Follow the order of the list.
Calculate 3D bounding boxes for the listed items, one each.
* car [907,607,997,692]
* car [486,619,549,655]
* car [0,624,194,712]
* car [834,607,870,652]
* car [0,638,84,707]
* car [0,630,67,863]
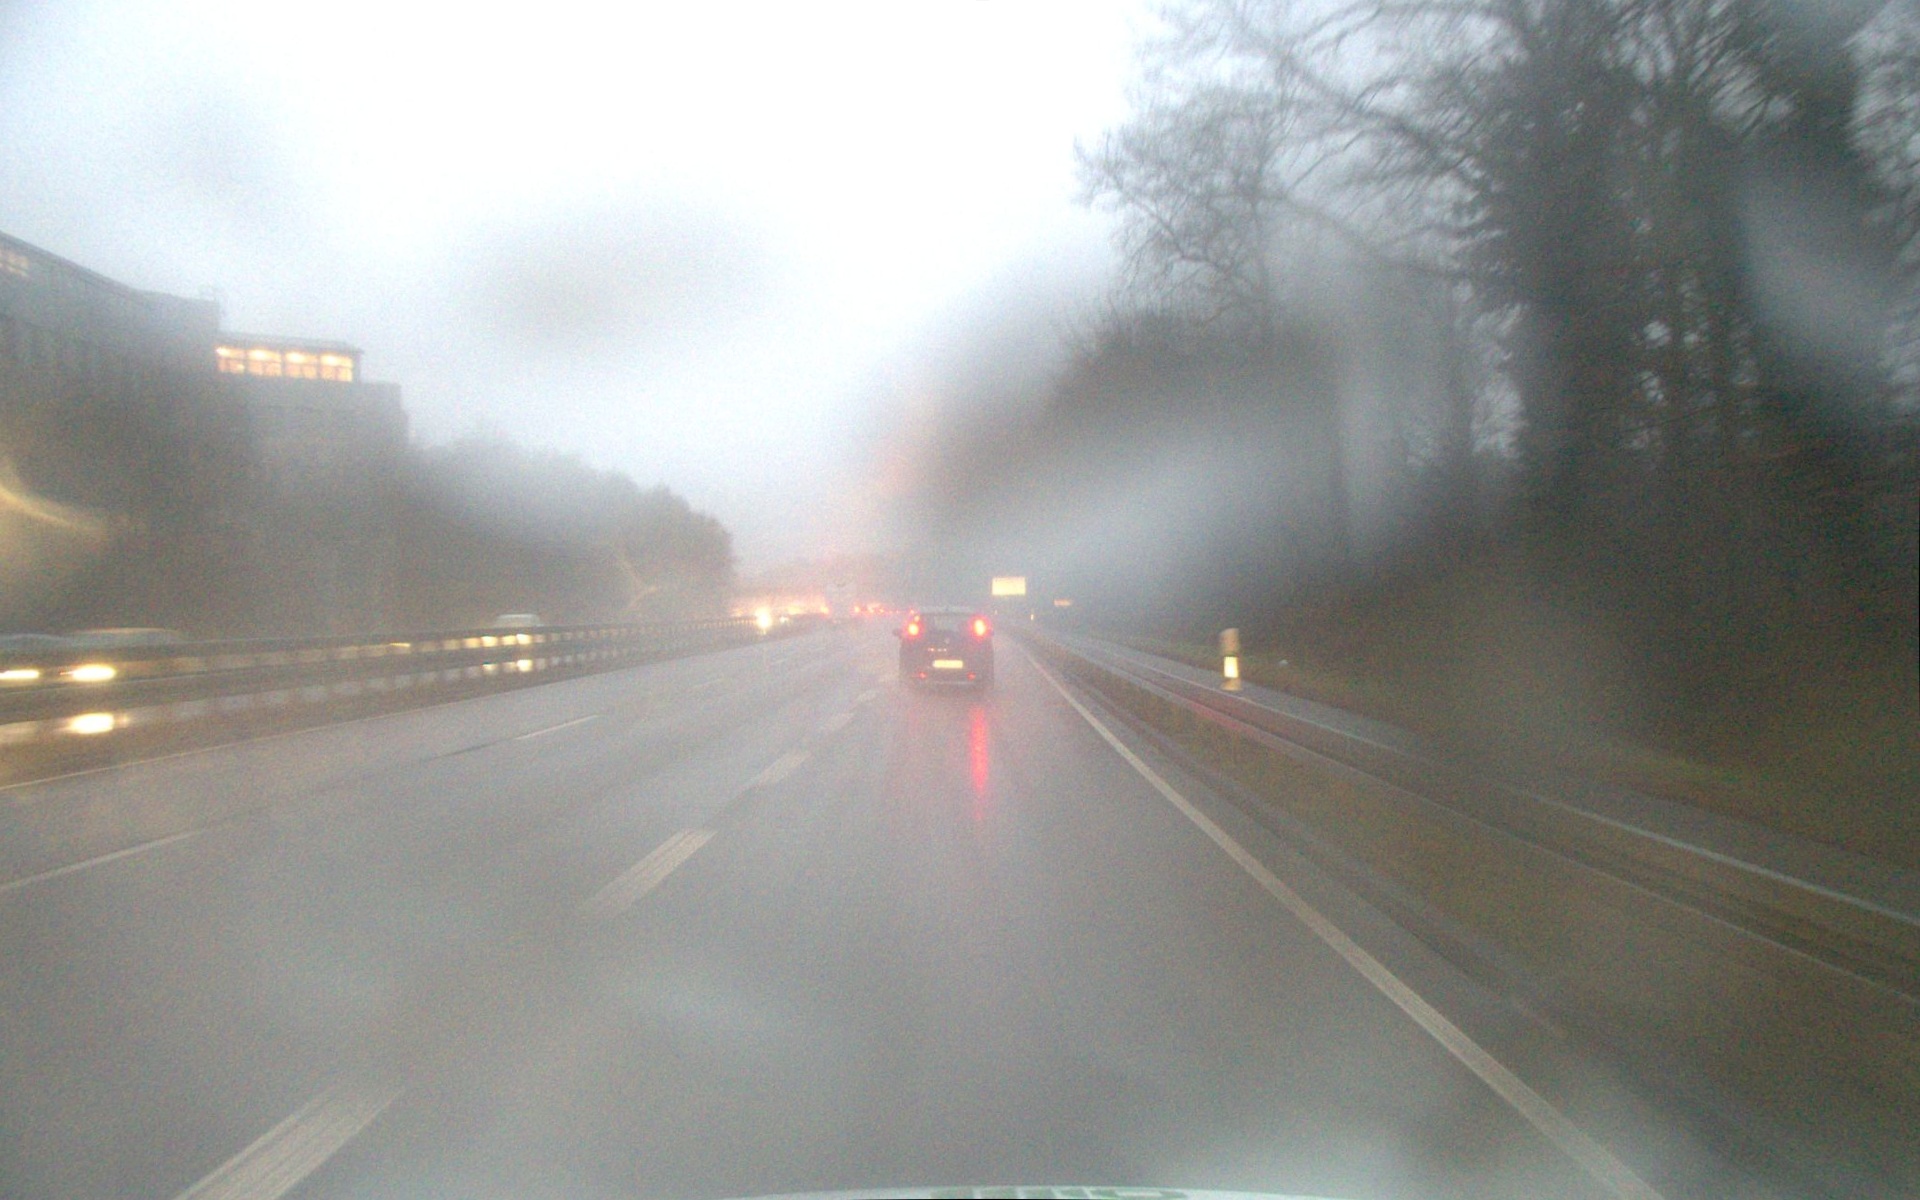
[{"bbox_3d":[-0.192,0.869,30.294,1.497,1.440,3.477,1,0,-2],"label":"car"},{"bbox_3d":[-19.413,1.588,72.773,1.513,1.539,4.540,0,-1,1],"label":"car"},{"bbox_3d":[-16.145,1.212,30.956,1.513,1.468,4.362,1,0,1],"label":"car"},{"bbox_3d":[-6.320,1.685,96.406,1.961,2.496,3.996,1,0,-5],"label":"car"},{"bbox_3d":[-19.861,1.470,33.663,1.513,1.294,4.687,1,0,1],"label":"car"},{"bbox_3d":[-7.371,0.995,9.510,1.739,1.561,4.703,-3,-1,2],"label":"car"}]
